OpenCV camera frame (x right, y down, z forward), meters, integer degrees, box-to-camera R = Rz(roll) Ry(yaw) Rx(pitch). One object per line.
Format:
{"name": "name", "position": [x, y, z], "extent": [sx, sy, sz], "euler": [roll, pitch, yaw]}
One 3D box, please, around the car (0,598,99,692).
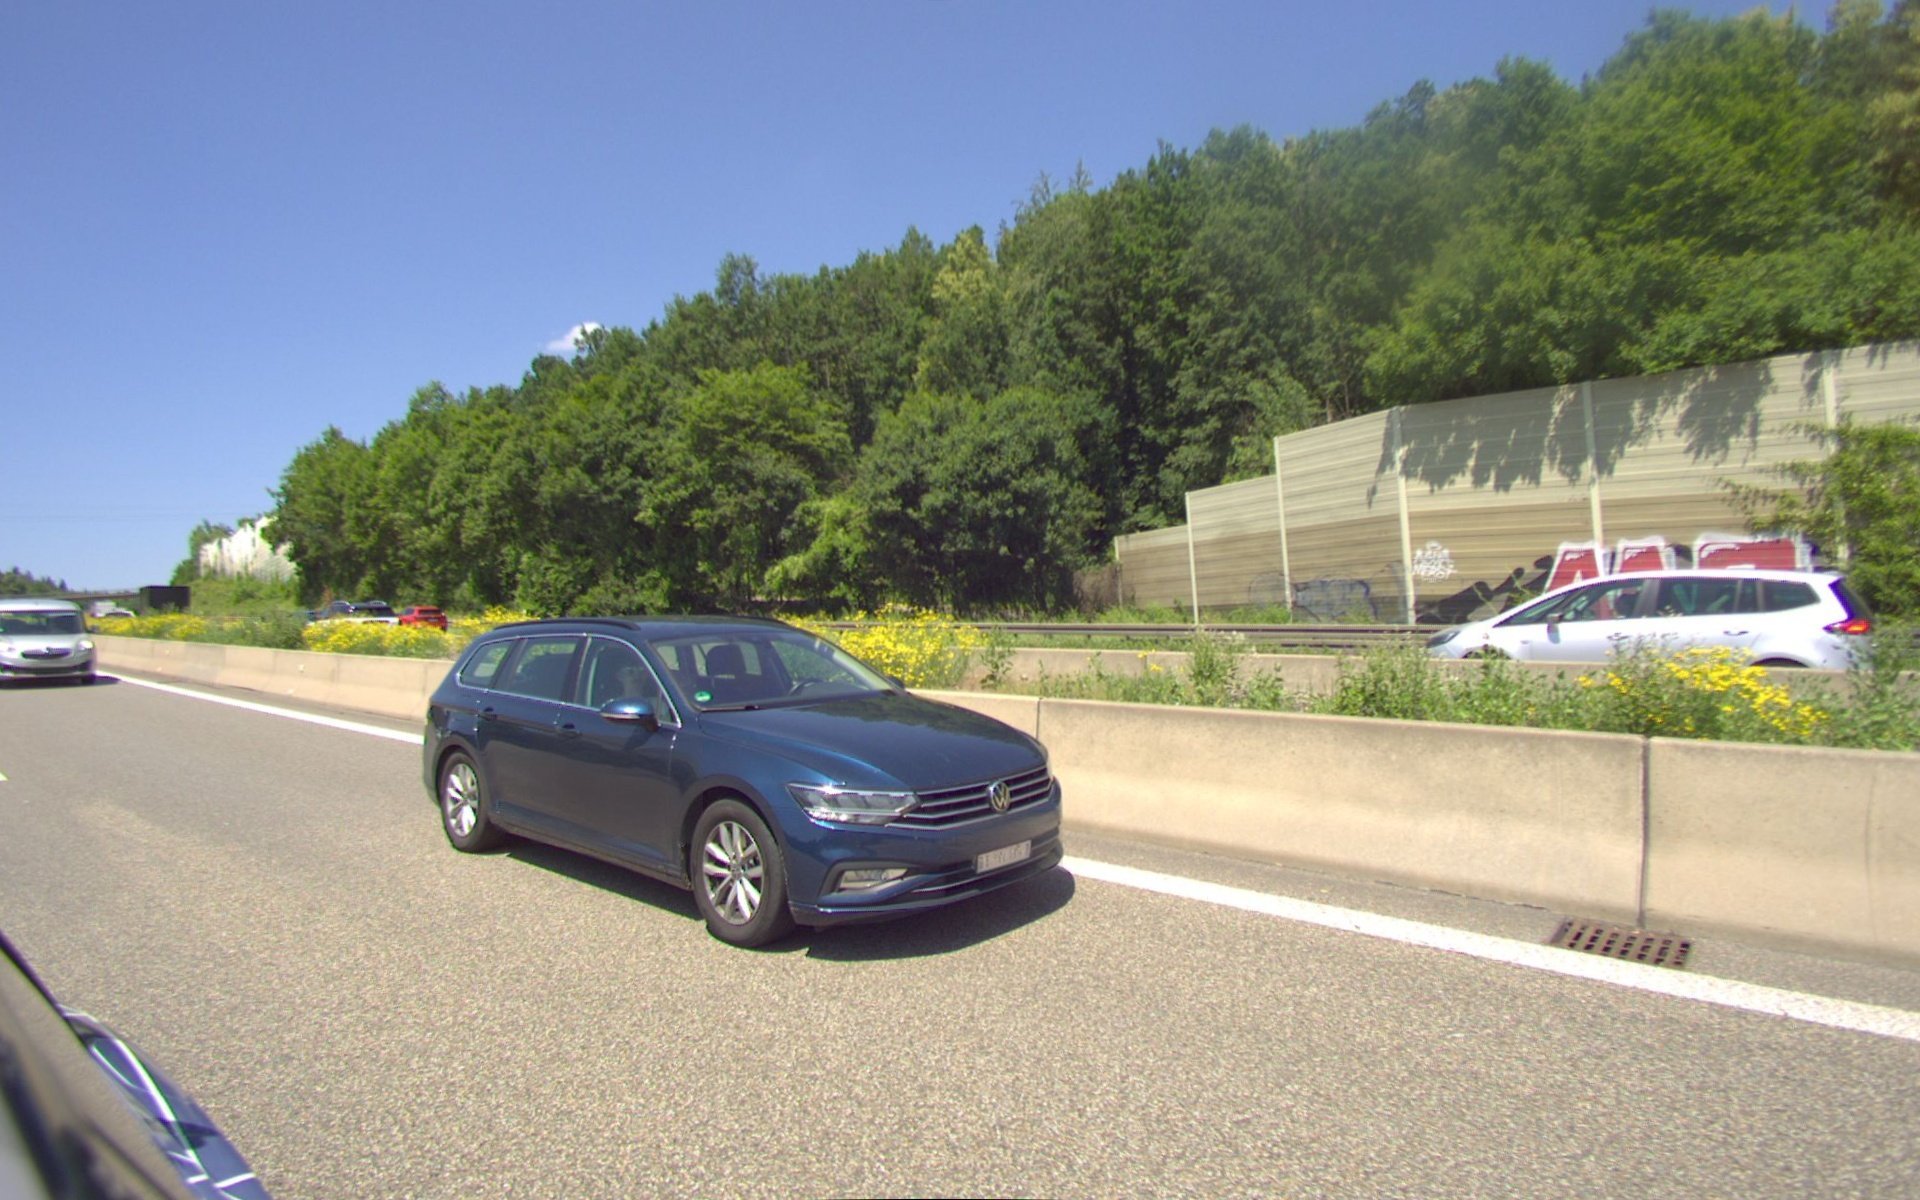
{"name": "car", "position": [-20.132, 0.929, 21.881], "extent": [3.998, 1.858, 1.758], "euler": [-1, -1, 41]}

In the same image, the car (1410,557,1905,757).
{"name": "car", "position": [7.965, 0.556, 11.908], "extent": [4.504, 1.913, 1.973], "euler": [-1, 0, 41]}

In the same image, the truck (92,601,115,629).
{"name": "truck", "position": [-126.072, 2.249, 148.984], "extent": [2.352, 3.986, 6.915], "euler": [-1, -1, -39]}

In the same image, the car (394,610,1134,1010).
{"name": "car", "position": [-1.481, 0.810, 5.895], "extent": [4.728, 1.438, 1.714], "euler": [-1, -1, 41]}

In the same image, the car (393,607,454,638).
{"name": "car", "position": [-29.734, 1.206, 56.028], "extent": [3.998, 1.647, 1.709], "euler": [-1, 0, 41]}

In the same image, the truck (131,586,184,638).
{"name": "truck", "position": [-57.490, 0.884, 72.457], "extent": [6.023, 3.532, 1.973], "euler": [-1, -1, 41]}

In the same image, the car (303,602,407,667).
{"name": "car", "position": [-17.950, 0.993, 29.961], "extent": [3.883, 1.784, 1.516], "euler": [-1, -1, 41]}

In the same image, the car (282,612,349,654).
{"name": "car", "position": [-28.782, 1.455, 45.150], "extent": [3.883, 1.784, 1.516], "euler": [-1, -1, 41]}

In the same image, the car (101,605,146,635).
{"name": "car", "position": [-51.578, 1.212, 62.365], "extent": [3.883, 1.784, 1.516], "euler": [-1, -1, 41]}
